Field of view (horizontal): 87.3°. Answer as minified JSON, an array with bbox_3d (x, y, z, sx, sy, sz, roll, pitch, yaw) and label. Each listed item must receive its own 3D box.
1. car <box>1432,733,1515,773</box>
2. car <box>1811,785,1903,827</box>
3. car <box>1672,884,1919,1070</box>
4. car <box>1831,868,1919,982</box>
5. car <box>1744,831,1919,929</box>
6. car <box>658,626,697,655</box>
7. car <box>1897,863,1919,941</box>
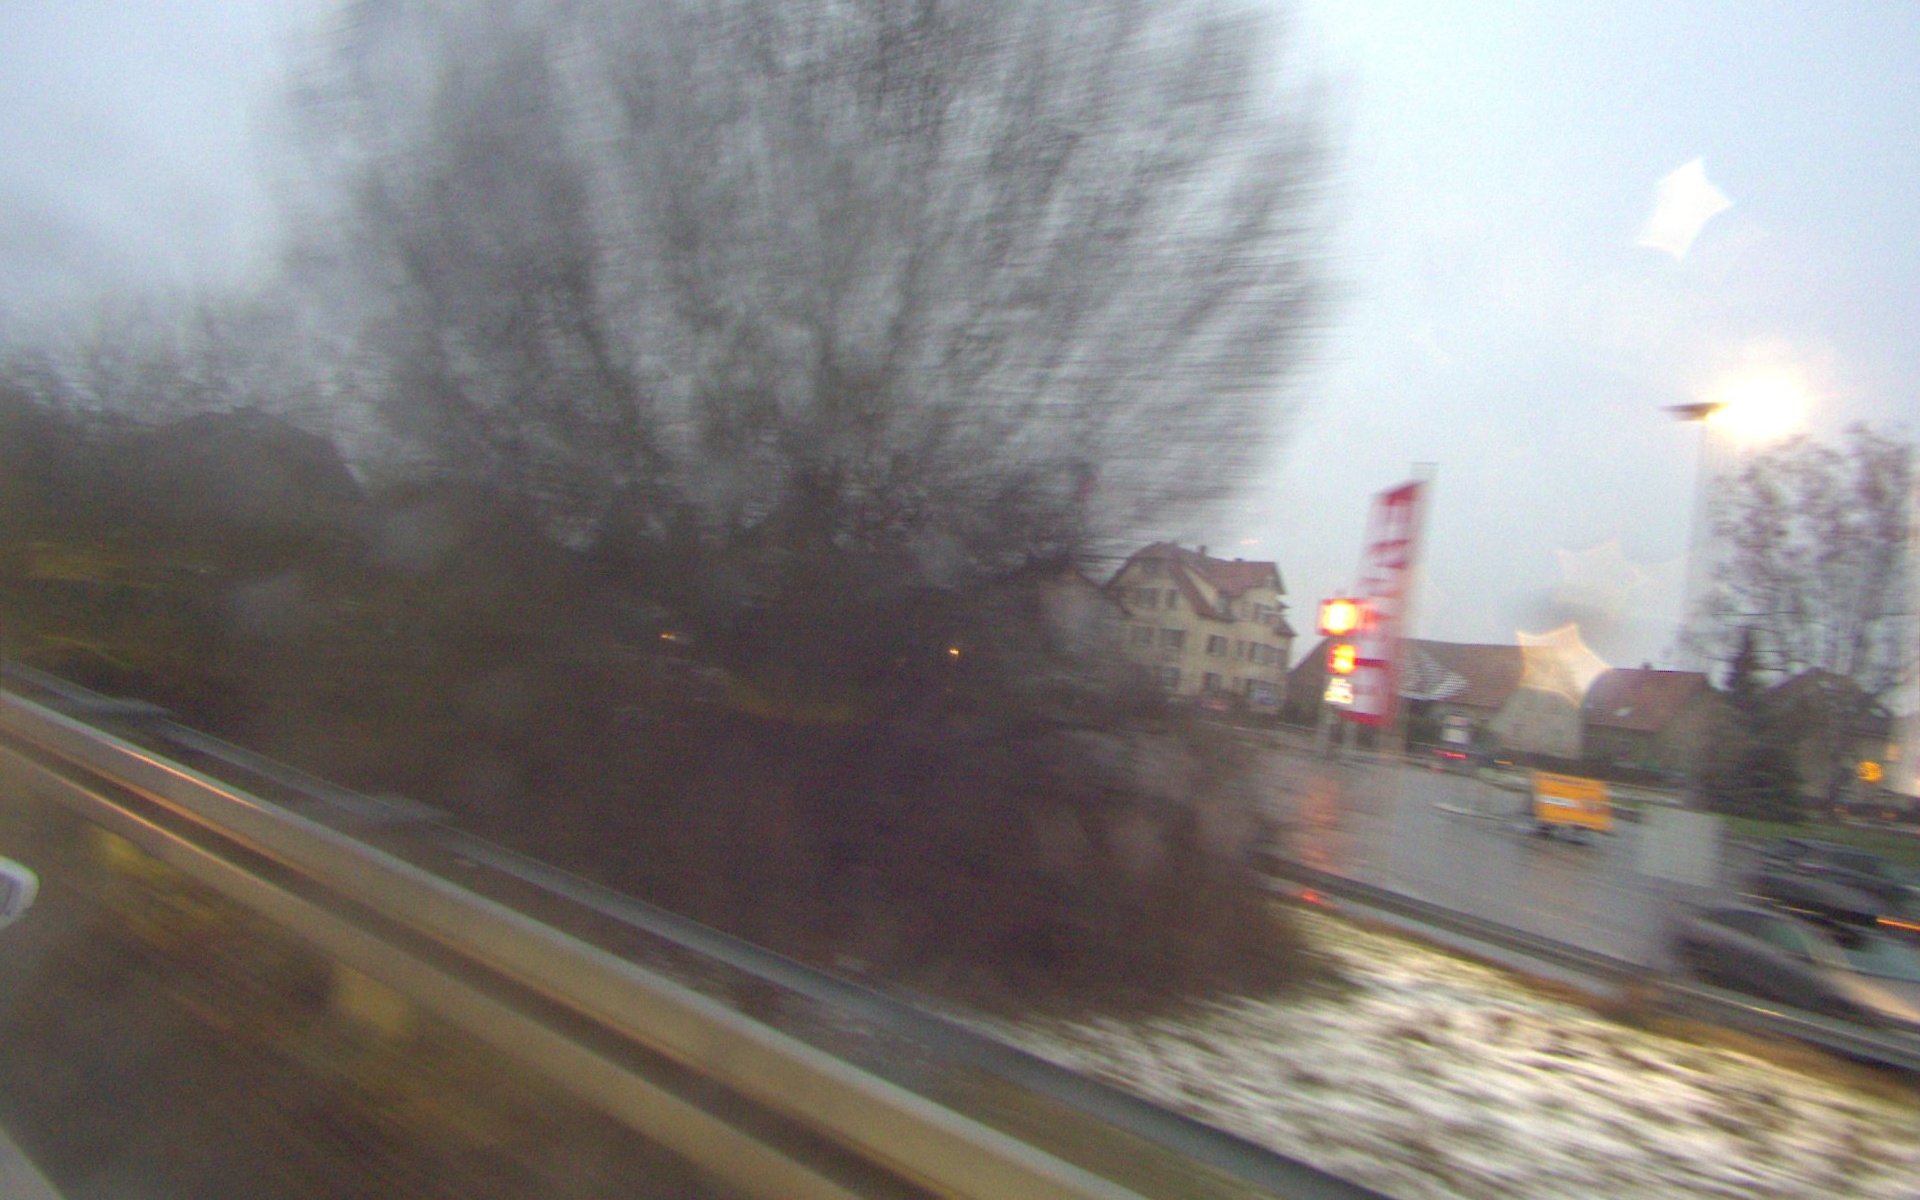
[{"bbox_3d":[30.498,9.090,59.823,3.936,1.680,1.939,8,-2,-13],"label":"car"},{"bbox_3d":[60.126,13.806,67.455,4.777,1.967,1.997,8,-2,-12],"label":"car"},{"bbox_3d":[11.444,4.980,13.576,1.365,1.328,3.212,7,-2,3],"label":"car"},{"bbox_3d":[18.118,6.075,17.637,1.712,1.620,3.991,9,-2,-40],"label":"car"},{"bbox_3d":[22.203,7.009,25.139,3.767,1.631,1.571,8,-1,4],"label":"car"},{"bbox_3d":[-17.155,2.441,61.255,1.884,1.503,3.994,7,-2,-12],"label":"car"},{"bbox_3d":[23.494,7.089,22.196,3.766,1.626,1.625,8,-1,8],"label":"car"}]
